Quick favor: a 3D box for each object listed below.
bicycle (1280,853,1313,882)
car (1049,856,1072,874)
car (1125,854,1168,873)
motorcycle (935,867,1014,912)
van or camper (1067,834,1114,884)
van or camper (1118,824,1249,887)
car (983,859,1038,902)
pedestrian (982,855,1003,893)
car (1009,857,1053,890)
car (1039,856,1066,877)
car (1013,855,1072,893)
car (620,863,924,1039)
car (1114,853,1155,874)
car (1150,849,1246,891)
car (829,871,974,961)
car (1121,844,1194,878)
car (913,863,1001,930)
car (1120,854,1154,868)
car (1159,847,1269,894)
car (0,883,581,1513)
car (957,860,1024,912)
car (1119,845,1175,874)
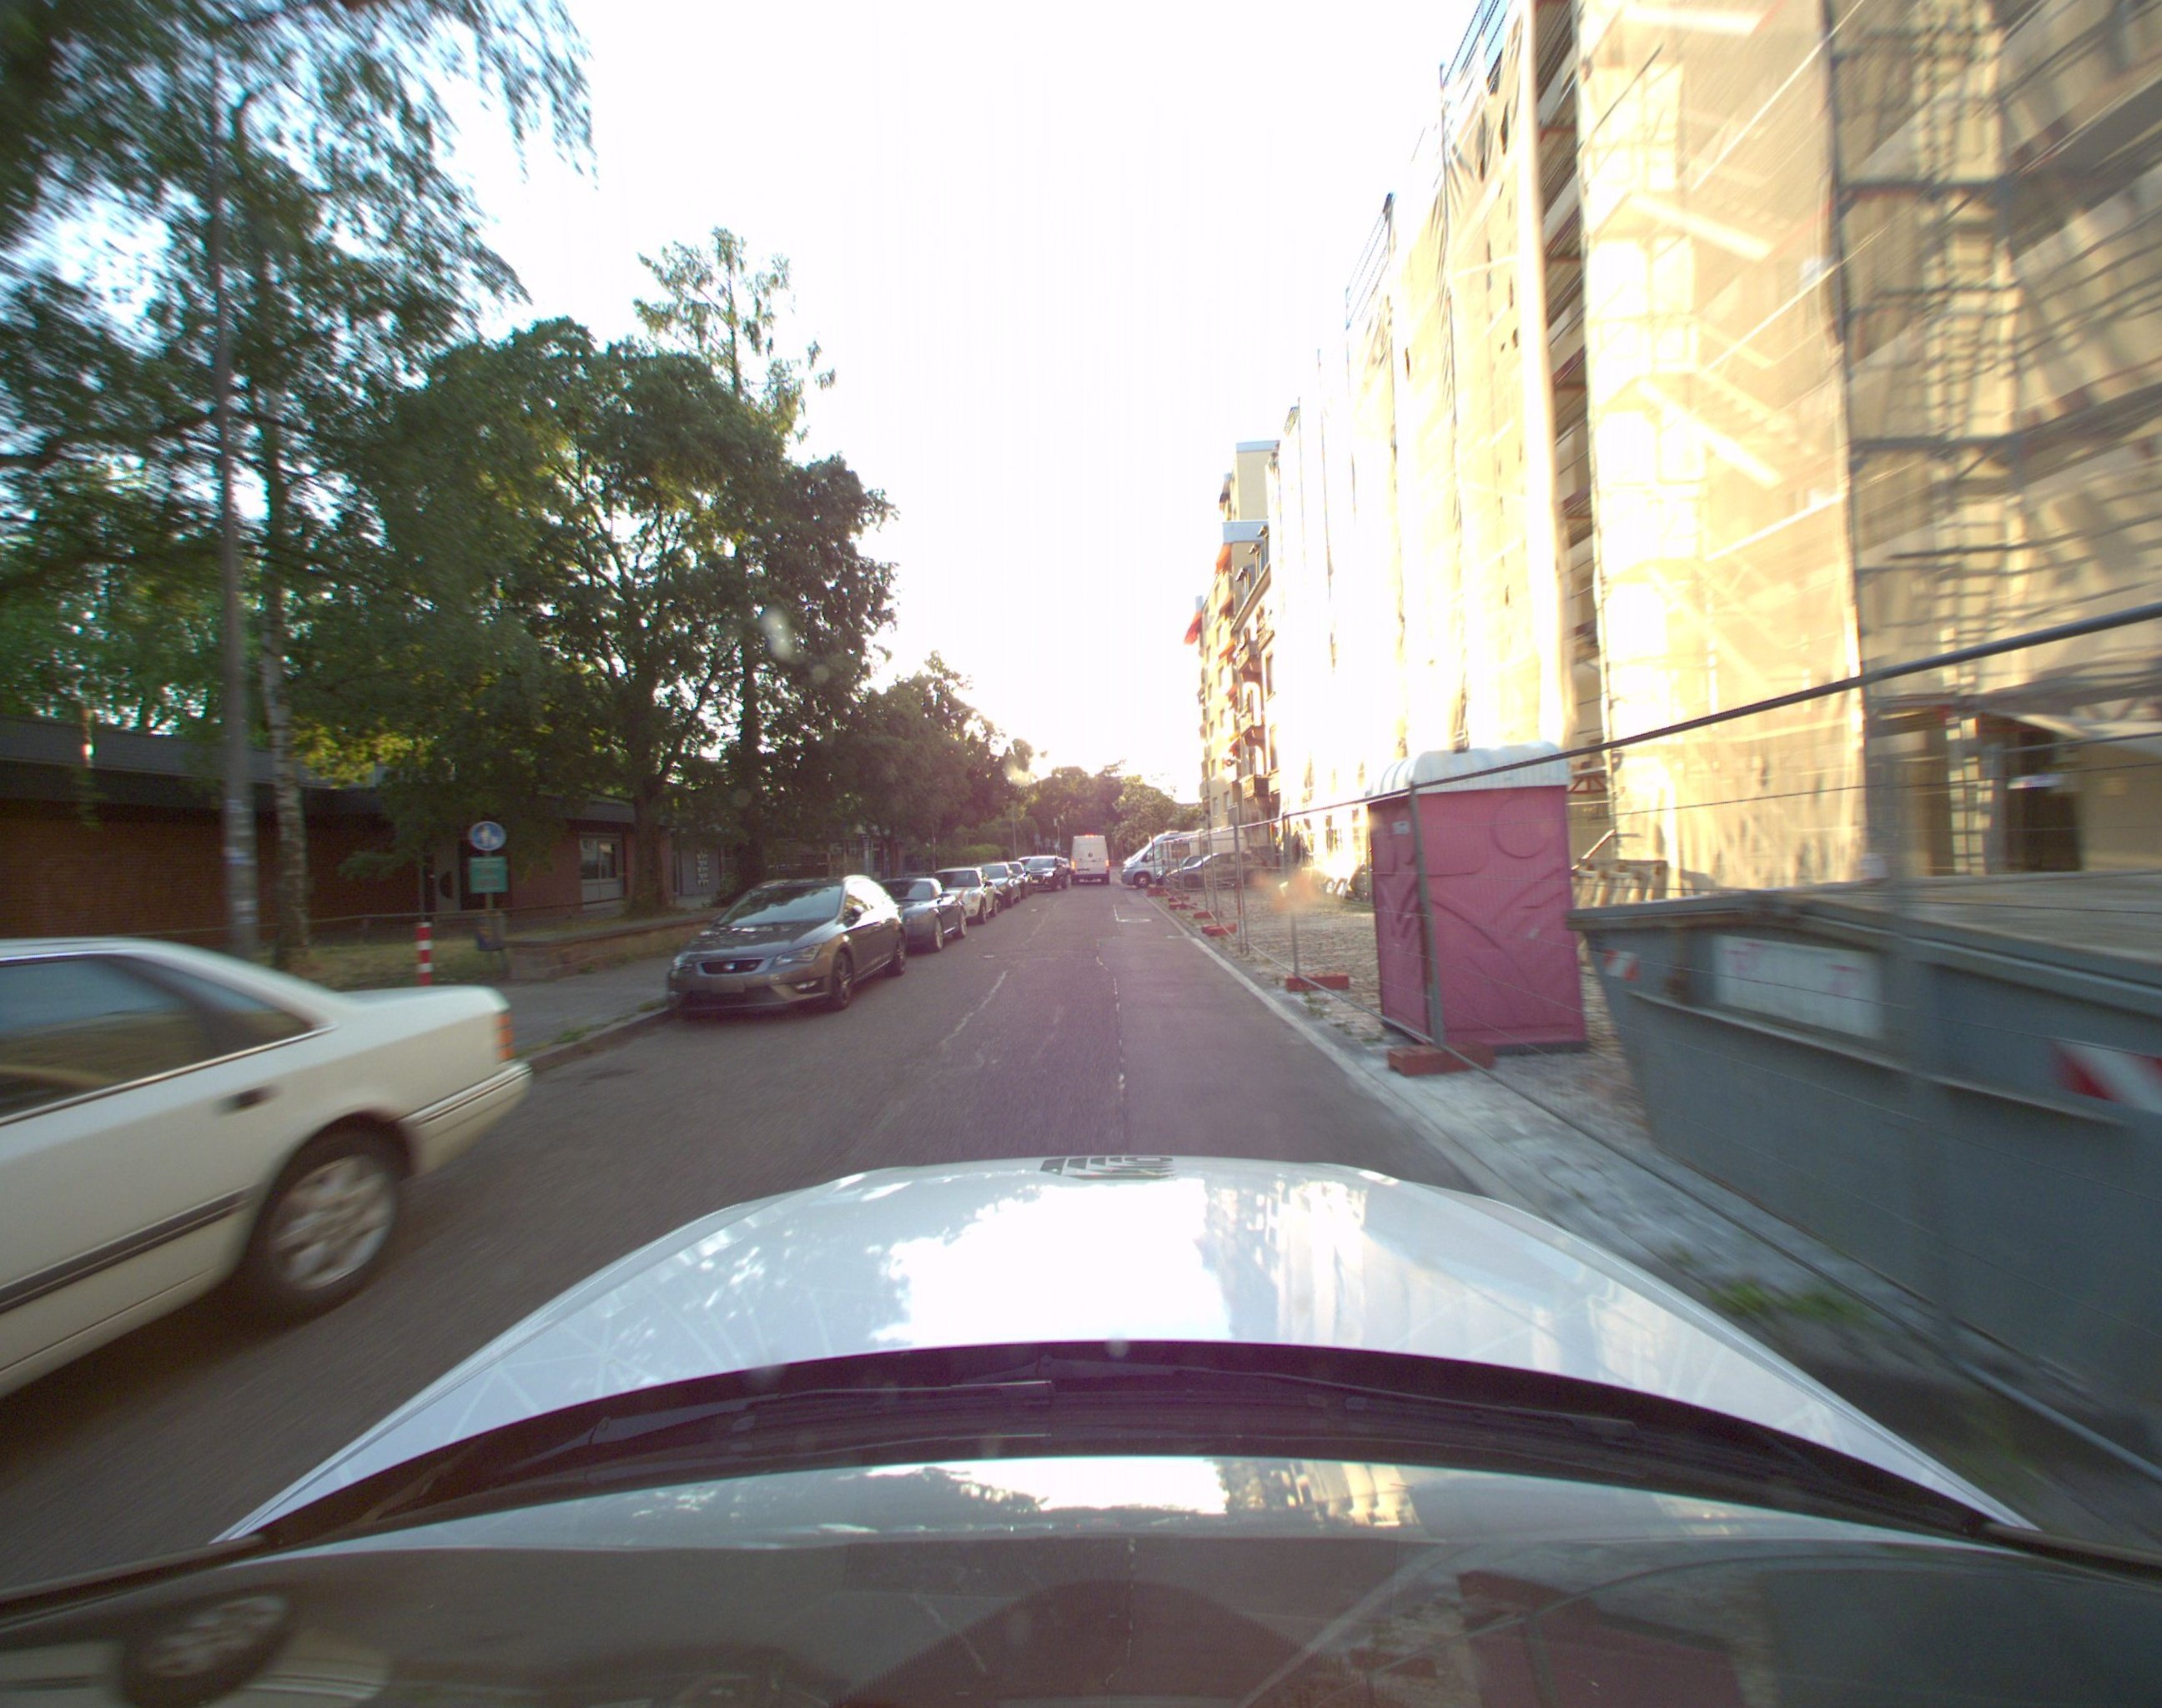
[{"bbox_3d":[8.839,0.541,33.526,0.629,1.168,2.031,-1,0,-5],"label":"bicycle"},{"bbox_3d":[-1.846,0.979,75.206,1.987,1.618,3.999,-1,0,-1],"label":"car"},{"bbox_3d":[6.296,0.894,78.694,3.972,1.728,2.001,-1,0,1],"label":"car"},{"bbox_3d":[-3.191,1.074,24.544,2.148,1.303,0.883,-1,-1,15],"label":"motorcycle"},{"bbox_3d":[0.565,0.273,45.217,2.445,2.547,6.084,0,0,1],"label":"van or camper"},{"bbox_3d":[4.774,0.075,38.553,5.910,2.770,2.109,-1,-1,0],"label":"van or camper"},{"bbox_3d":[-2.797,1.020,32.899,1.631,1.478,3.994,-4,0,2],"label":"car"},{"bbox_3d":[-4.329,0.973,39.866,0.935,1.830,0.786,-1,-1,-1],"label":"pedestrian"},{"bbox_3d":[-2.677,1.027,44.415,1.776,1.631,4.003,-4,0,3],"label":"car"},{"bbox_3d":[-2.224,0.962,64.254,1.987,1.618,3.999,-1,0,-1],"label":"car"},{"bbox_3d":[-1.689,0.866,37.670,1.794,1.569,4.576,-3,0,8],"label":"car"},{"bbox_3d":[-3.404,0.950,10.155,1.854,1.538,4.758,-3,0,0],"label":"car"},{"bbox_3d":[5.324,0.954,80.948,3.971,2.013,2.001,-1,0,2],"label":"car"},{"bbox_3d":[5.082,0.714,35.780,3.920,1.486,1.788,-5,-2,2],"label":"car"},{"bbox_3d":[-3.252,1.075,15.569,1.653,1.313,4.156,-4,0,2],"label":"car"},{"bbox_3d":[5.162,0.484,55.459,4.692,2.145,1.999,-1,0,-1],"label":"car"},{"bbox_3d":[-3.137,1.038,21.283,1.596,1.431,3.803,-5,0,0],"label":"car"},{"bbox_3d":[6.963,0.833,101.056,3.978,1.618,1.998,-1,0,-3],"label":"car"},{"bbox_3d":[5.327,0.634,32.930,3.979,1.515,2.017,-5,0,-4],"label":"car"},{"bbox_3d":[-3.542,0.937,1.819,1.776,1.445,4.748,-5,0,0],"label":"car"},{"bbox_3d":[-2.988,1.022,27.737,1.710,1.496,4.360,-4,0,0],"label":"car"},{"bbox_3d":[5.466,0.438,67.704,4.481,2.230,2.032,-1,0,0],"label":"car"}]
